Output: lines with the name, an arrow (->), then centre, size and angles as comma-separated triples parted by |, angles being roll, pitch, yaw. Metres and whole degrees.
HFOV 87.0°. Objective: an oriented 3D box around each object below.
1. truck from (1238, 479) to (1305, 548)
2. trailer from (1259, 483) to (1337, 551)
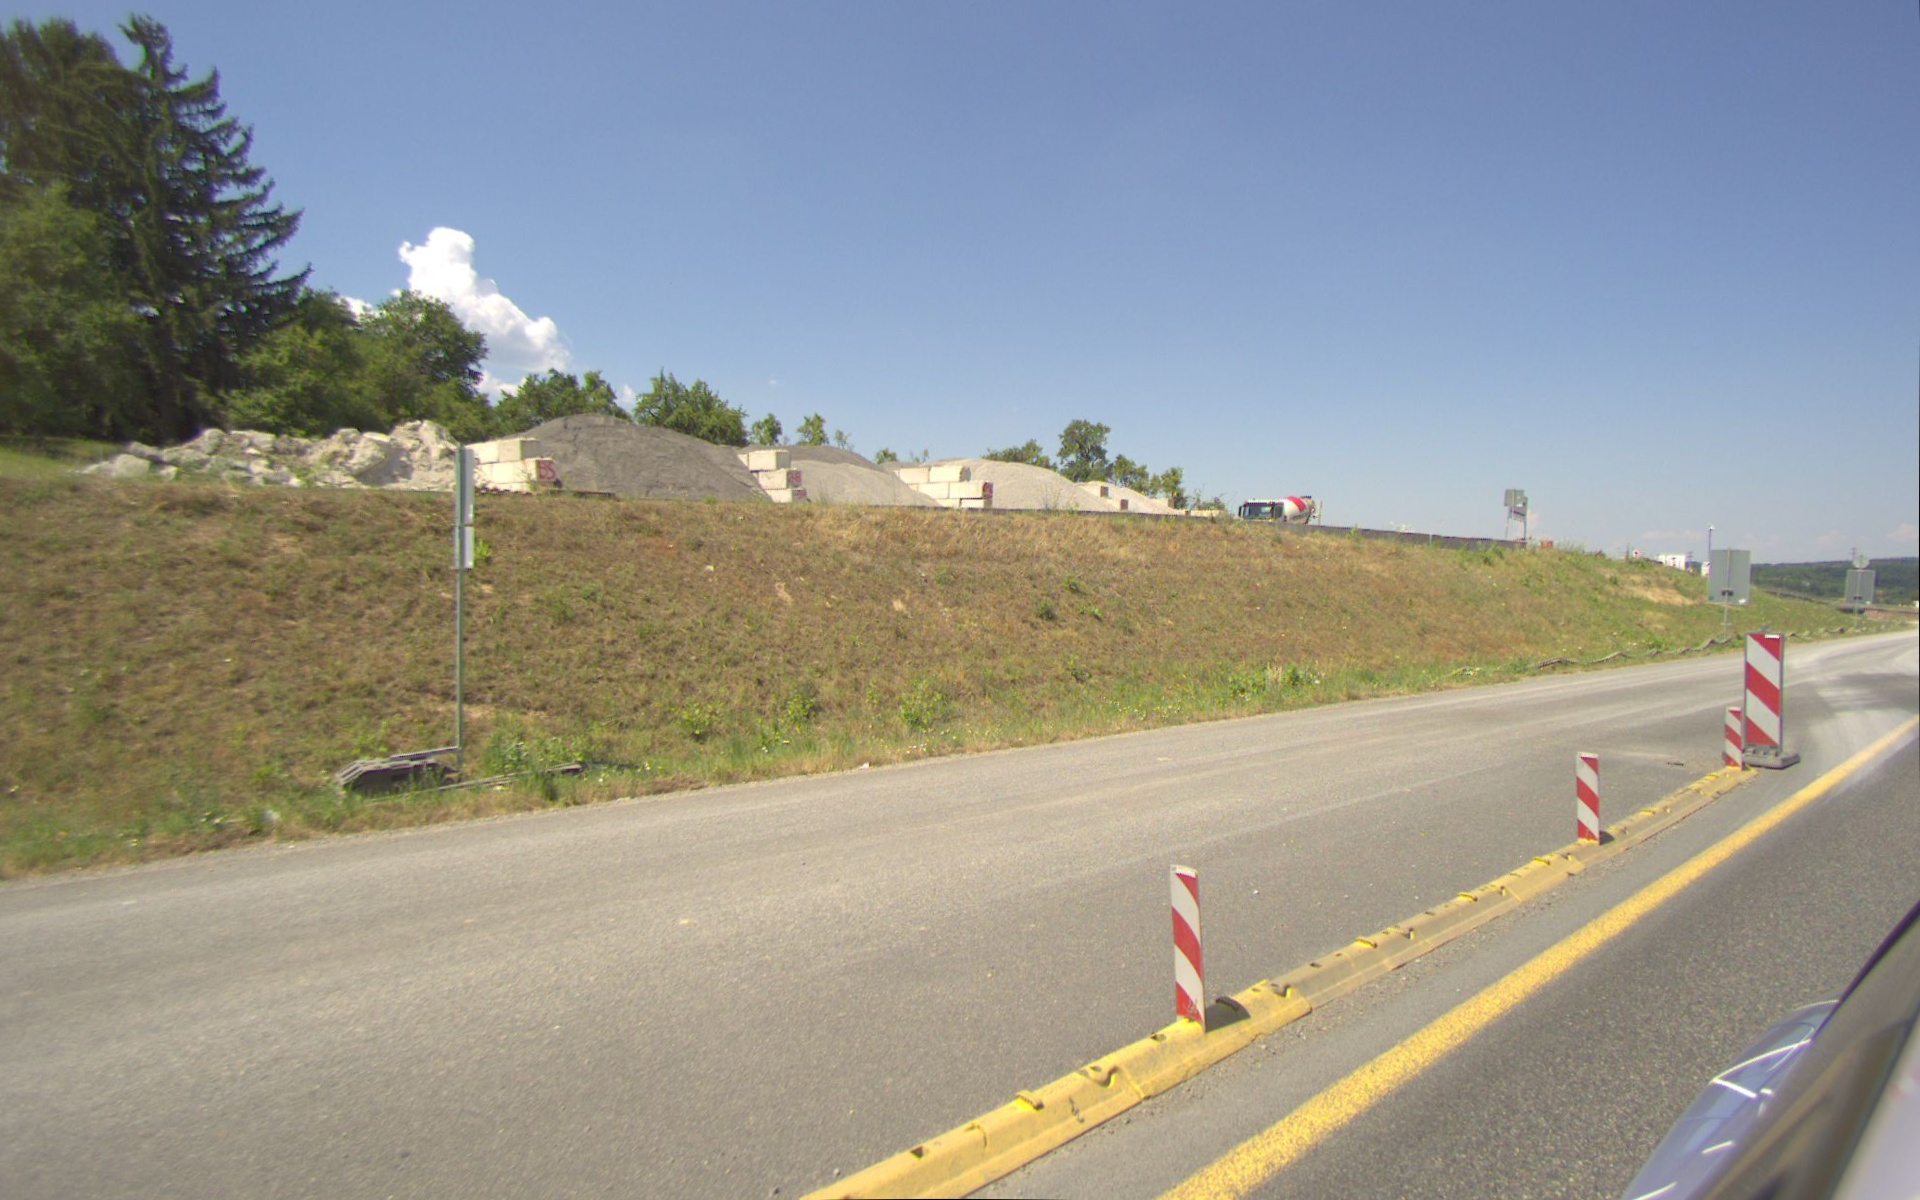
truck -> 20.334, -5.541, 66.026 | 2.742, 4.147, 4.040 | 1, 1, 41
trailer -> 23.282, -5.593, 69.536 | 2.753, 4.166, 6.647 | 1, 1, 40
